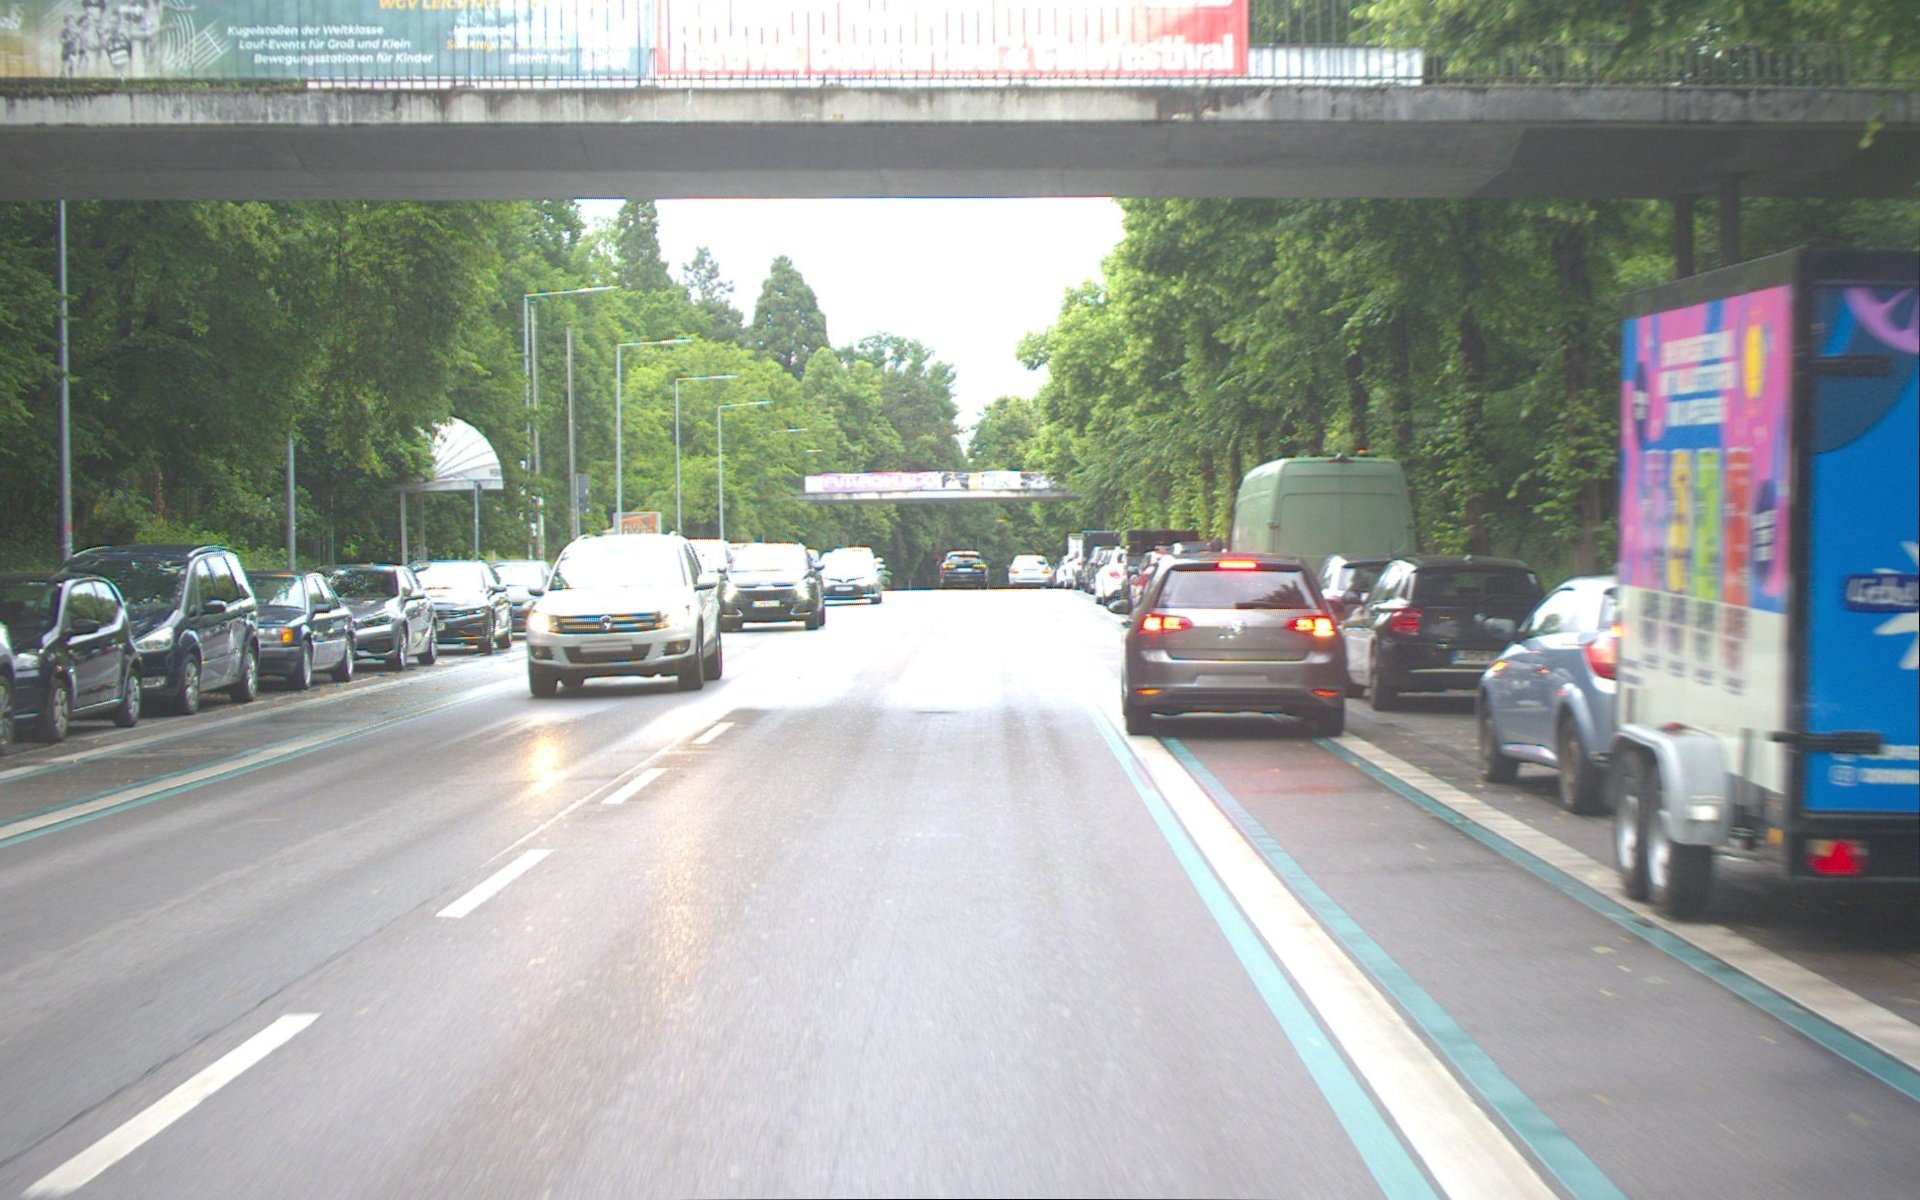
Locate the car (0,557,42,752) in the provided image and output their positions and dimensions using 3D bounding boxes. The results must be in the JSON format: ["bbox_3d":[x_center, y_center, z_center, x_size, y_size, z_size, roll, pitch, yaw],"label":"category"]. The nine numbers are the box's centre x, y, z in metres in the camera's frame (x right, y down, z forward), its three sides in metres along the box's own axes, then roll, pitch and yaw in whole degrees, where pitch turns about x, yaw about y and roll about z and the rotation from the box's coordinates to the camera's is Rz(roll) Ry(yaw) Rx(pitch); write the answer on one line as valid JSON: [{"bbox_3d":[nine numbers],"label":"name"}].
[{"bbox_3d":[-8.495,0.470,26.570,1.687,1.541,4.233,0,1,0],"label":"car"}]

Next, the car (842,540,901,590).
[{"bbox_3d":[-3.043,-1.205,118.723,1.795,1.646,4.129,-2,1,1],"label":"car"}]

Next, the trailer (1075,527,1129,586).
[{"bbox_3d":[5.275,-1.612,128.161,1.884,2.158,3.808,-1,1,1],"label":"trailer"}]

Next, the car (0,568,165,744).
[{"bbox_3d":[-8.456,0.462,31.044,1.609,1.434,3.843,0,1,1],"label":"car"}]

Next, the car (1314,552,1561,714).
[{"bbox_3d":[4.464,0.268,32.691,1.686,1.411,4.197,0,1,-1],"label":"car"}]

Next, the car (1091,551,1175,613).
[{"bbox_3d":[4.502,-0.494,89.909,1.789,1.537,4.890,1,1,-1],"label":"car"}]

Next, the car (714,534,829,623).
[{"bbox_3d":[-3.570,-0.440,65.906,1.966,1.622,4.321,-1,1,0],"label":"car"}]

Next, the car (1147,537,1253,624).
[{"bbox_3d":[4.602,-0.407,66.397,1.756,1.584,4.498,1,1,1],"label":"car"}]

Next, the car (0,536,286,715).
[{"bbox_3d":[-8.603,0.207,36.407,1.990,1.736,4.838,0,1,0],"label":"car"}]

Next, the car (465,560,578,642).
[{"bbox_3d":[-8.297,-0.005,65.329,1.670,1.452,3.993,0,1,0],"label":"car"}]

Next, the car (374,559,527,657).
[{"bbox_3d":[-8.185,0.096,55.564,1.956,1.458,4.757,0,1,-2],"label":"car"}]

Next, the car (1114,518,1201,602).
[{"bbox_3d":[4.854,-0.994,84.981,1.926,2.015,4.664,0,1,1],"label":"car"}]

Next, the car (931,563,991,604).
[{"bbox_3d":[0.027,-0.649,130.242,2.140,1.487,4.499,0,1,-2],"label":"car"}]

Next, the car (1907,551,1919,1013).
[{"bbox_3d":[4.103,0.616,8.724,1.899,1.542,4.756,1,1,-2],"label":"car"}]

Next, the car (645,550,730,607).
[{"bbox_3d":[-8.092,-0.662,102.362,1.990,1.600,4.984,-1,1,2],"label":"car"}]

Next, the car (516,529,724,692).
[{"bbox_3d":[-3.610,0.072,37.135,1.834,1.661,4.181,0,1,0],"label":"car"}]

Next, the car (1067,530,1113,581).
[{"bbox_3d":[5.469,-1.877,144.770,1.889,2.120,4.045,1,1,2],"label":"car"}]

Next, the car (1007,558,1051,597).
[{"bbox_3d":[2.900,-0.958,145.351,1.731,1.578,4.036,-1,1,0],"label":"car"}]

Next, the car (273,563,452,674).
[{"bbox_3d":[-8.340,0.223,48.286,1.784,1.418,4.296,0,1,0],"label":"car"}]

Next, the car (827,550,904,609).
[{"bbox_3d":[-2.580,-0.581,94.387,1.921,1.555,4.621,1,1,1],"label":"car"}]

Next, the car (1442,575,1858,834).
[{"bbox_3d":[4.060,0.563,20.808,1.584,1.348,3.863,1,1,-2],"label":"car"}]

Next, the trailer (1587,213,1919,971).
[{"bbox_3d":[3.984,-0.057,14.476,1.952,2.749,4.007,0,1,0],"label":"trailer"}]

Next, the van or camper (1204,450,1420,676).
[{"bbox_3d":[4.549,-0.514,45.441,2.042,2.720,6.901,1,1,0],"label":"van or camper"}]

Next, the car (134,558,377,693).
[{"bbox_3d":[-8.503,0.265,41.899,1.983,1.467,4.898,1,1,0],"label":"car"}]

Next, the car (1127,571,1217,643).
[{"bbox_3d":[4.545,0.131,74.114,1.686,1.448,4.165,1,1,1],"label":"car"}]

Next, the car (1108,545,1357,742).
[{"bbox_3d":[2.171,0.300,28.343,1.818,1.503,4.139,0,1,1],"label":"car"}]

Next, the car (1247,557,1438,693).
[{"bbox_3d":[4.184,0.236,38.129,1.686,1.411,4.100,1,1,1],"label":"car"}]
